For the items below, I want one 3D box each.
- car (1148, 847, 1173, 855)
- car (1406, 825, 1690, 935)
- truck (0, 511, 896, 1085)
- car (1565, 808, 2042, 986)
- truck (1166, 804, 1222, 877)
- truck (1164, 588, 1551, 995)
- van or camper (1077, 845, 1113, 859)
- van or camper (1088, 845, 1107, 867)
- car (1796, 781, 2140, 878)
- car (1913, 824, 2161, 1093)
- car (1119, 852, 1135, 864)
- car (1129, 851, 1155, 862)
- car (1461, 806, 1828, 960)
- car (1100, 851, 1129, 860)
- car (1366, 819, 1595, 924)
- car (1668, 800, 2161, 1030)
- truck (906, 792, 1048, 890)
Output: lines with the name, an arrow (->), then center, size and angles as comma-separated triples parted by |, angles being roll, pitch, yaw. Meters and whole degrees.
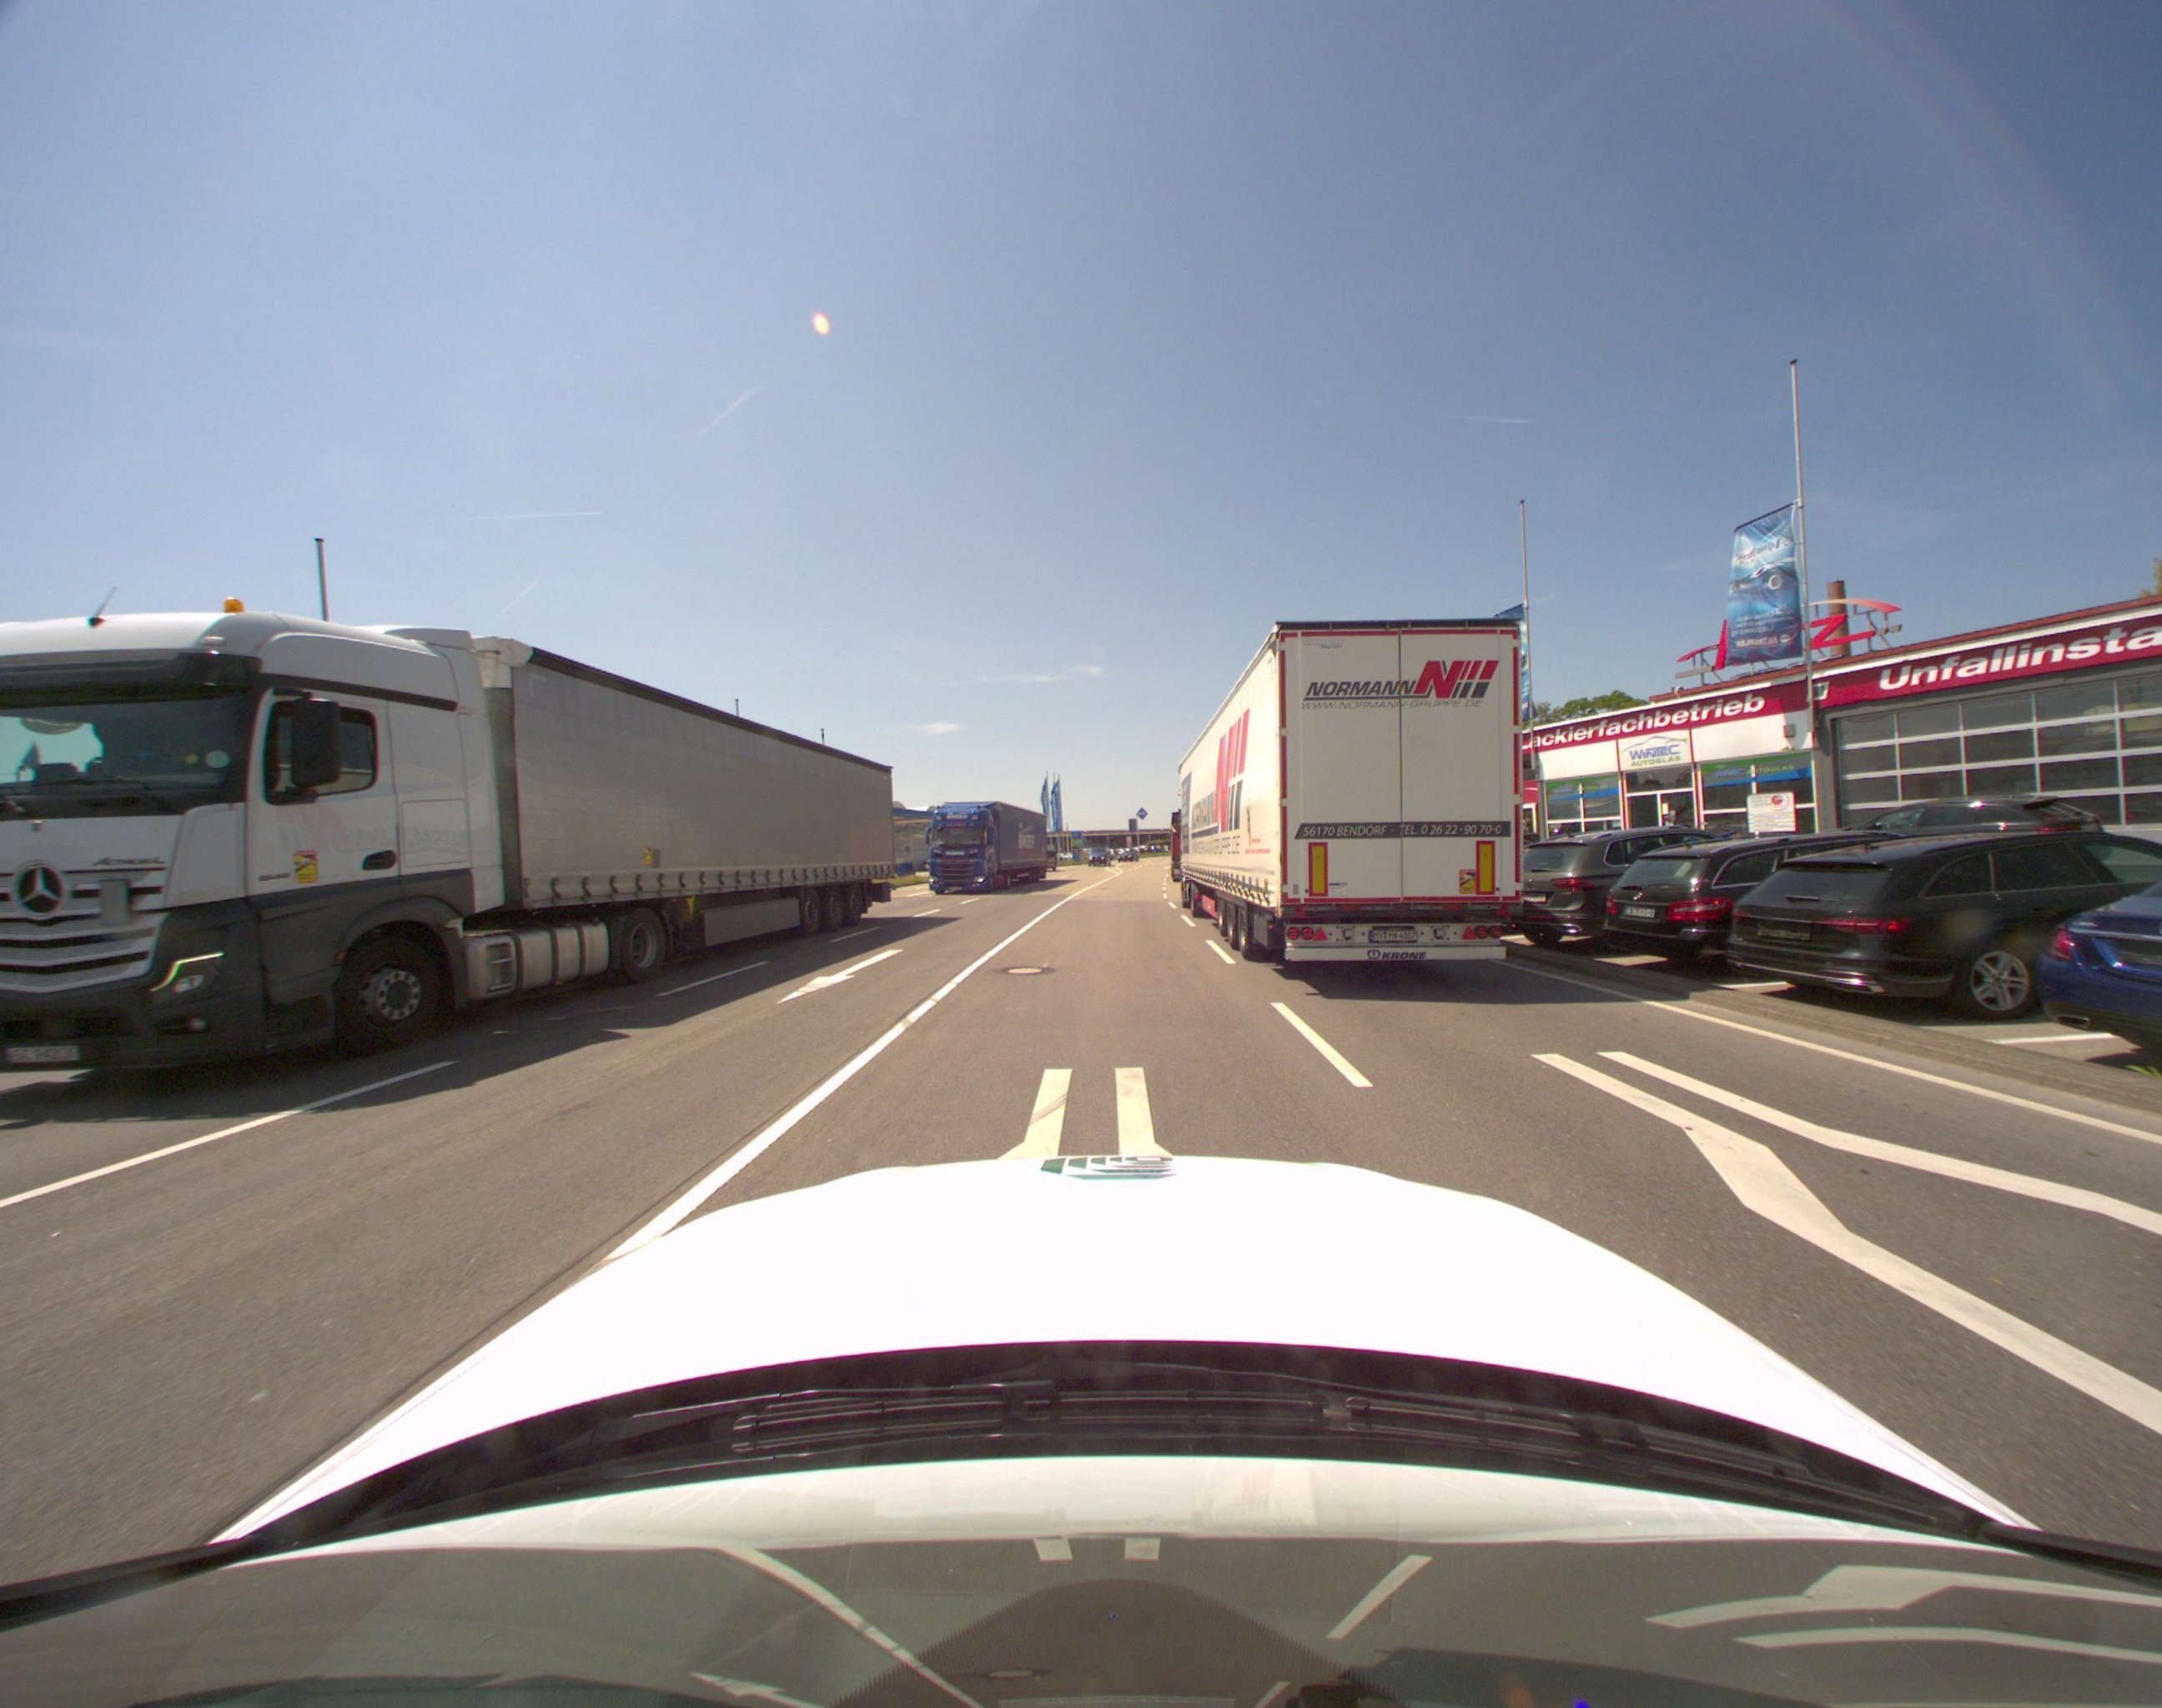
car -> 14.351, -0.528, 147.067 | 3.948, 1.317, 1.845 | -4, 0, 33
car -> 8.462, 0.450, 15.014 | 4.124, 1.422, 1.792 | -7, 0, -1
truck -> -6.818, -0.309, 13.824 | 2.779, 3.889, 16.493 | -1, -1, 3
car -> 8.374, 0.454, 9.709 | 4.004, 1.481, 1.975 | -6, 0, -5
truck -> 6.827, -0.762, 50.898 | 2.635, 3.806, 13.379 | -3, 0, 5
truck -> 3.717, -0.621, 17.166 | 2.961, 4.093, 17.648 | -1, 0, 3
van or camper -> 1.963, -0.281, 113.252 | 4.818, 1.905, 1.909 | -2, -1, 9
van or camper -> 1.741, 0.146, 84.315 | 1.829, 2.138, 5.347 | -1, 0, 3
car -> 17.128, -0.403, 16.054 | 1.953, 1.657, 4.141 | -1, -1, -18
car -> 8.249, 0.448, 4.858 | 4.249, 1.413, 2.164 | -6, 0, 1
car -> 5.536, 0.438, 98.231 | 1.841, 1.271, 4.180 | -3, 0, 3
car -> 10.452, 0.365, 139.537 | 3.948, 1.750, 2.013 | -2, -1, 36
car -> 8.232, 0.382, 12.135 | 4.011, 1.674, 2.194 | -6, 0, -10
car -> 5.456, 0.291, 132.724 | 4.195, 1.359, 2.013 | -2, 0, 34
car -> 8.457, 0.352, 17.521 | 3.840, 1.691, 1.944 | -7, 0, 2
car -> 8.123, 0.441, 7.510 | 4.004, 1.481, 1.975 | -6, 0, -5
truck -> -4.521, -0.467, 41.224 | 2.829, 3.889, 17.040 | -2, -1, 7
